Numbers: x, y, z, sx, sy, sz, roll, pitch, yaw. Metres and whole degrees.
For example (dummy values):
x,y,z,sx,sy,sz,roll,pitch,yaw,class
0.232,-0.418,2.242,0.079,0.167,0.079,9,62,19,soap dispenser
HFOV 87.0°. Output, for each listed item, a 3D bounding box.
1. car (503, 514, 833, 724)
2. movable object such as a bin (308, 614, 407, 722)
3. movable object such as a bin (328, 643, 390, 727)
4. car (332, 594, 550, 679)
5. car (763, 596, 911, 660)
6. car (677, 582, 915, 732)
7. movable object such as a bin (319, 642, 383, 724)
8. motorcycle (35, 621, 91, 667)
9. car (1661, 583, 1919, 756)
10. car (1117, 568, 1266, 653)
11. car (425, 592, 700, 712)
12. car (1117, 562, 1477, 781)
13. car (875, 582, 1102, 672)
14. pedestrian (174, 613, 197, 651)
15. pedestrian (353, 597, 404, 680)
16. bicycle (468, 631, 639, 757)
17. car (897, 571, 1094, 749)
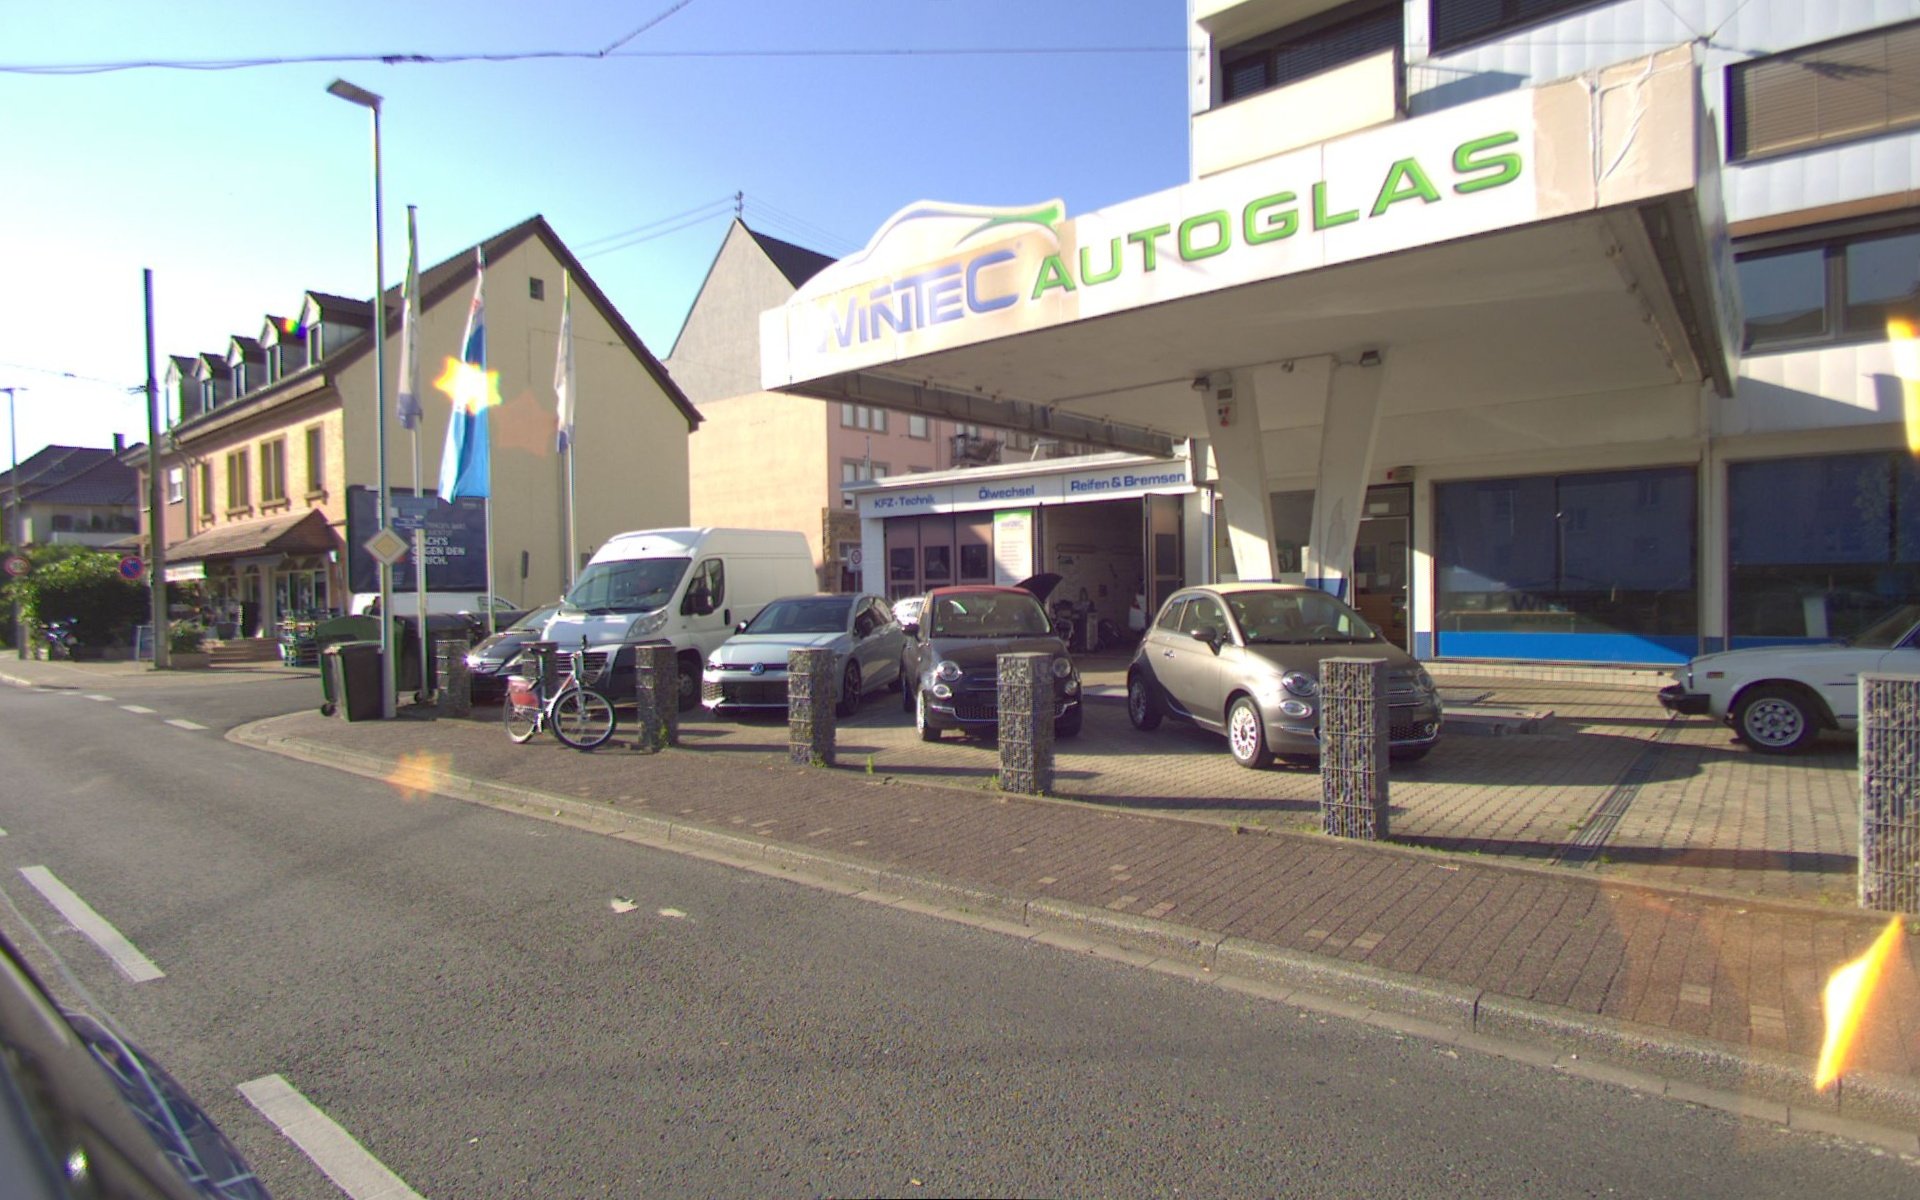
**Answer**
x,y,z,sx,sy,sz,roll,pitch,yaw,class
-3.913,0.190,14.720,2.091,2.488,5.042,-1,1,18,car
-9.106,1.018,15.364,1.040,1.494,1.316,-3,-2,-22,movable object such as a bin
-8.210,1.153,13.823,0.631,1.077,0.581,-2,-2,-38,movable object such as a bin
-13.213,0.848,26.015,1.997,1.947,4.571,-1,0,38,car
-3.501,0.752,29.247,1.999,1.536,3.947,4,4,40,car
-1.908,0.600,13.081,1.754,1.580,3.987,-2,1,11,car
-8.613,1.161,14.316,0.652,1.070,0.586,-4,0,-38,movable object such as a bin
-27.445,1.325,30.949,2.229,1.292,0.831,-1,1,37,motorcycle
8.092,0.499,8.001,4.131,1.294,1.572,-3,-1,37,car
5.423,0.193,23.280,1.769,1.722,4.264,-2,1,36,car
-6.243,0.742,16.377,1.763,1.580,3.966,-2,1,26,car
2.808,0.512,9.235,1.595,1.580,3.402,-1,0,-11,car
0.496,0.519,20.237,4.311,1.580,1.750,-2,1,39,car
-26.419,1.076,34.518,0.465,1.268,0.517,-1,0,41,pedestrian
-13.556,0.880,23.584,0.820,1.882,0.784,-2,0,42,pedestrian
-4.256,0.933,10.567,1.774,1.186,0.718,-1,0,31,bicycle
0.227,0.532,10.935,1.597,1.580,3.399,-1,0,-7,car
